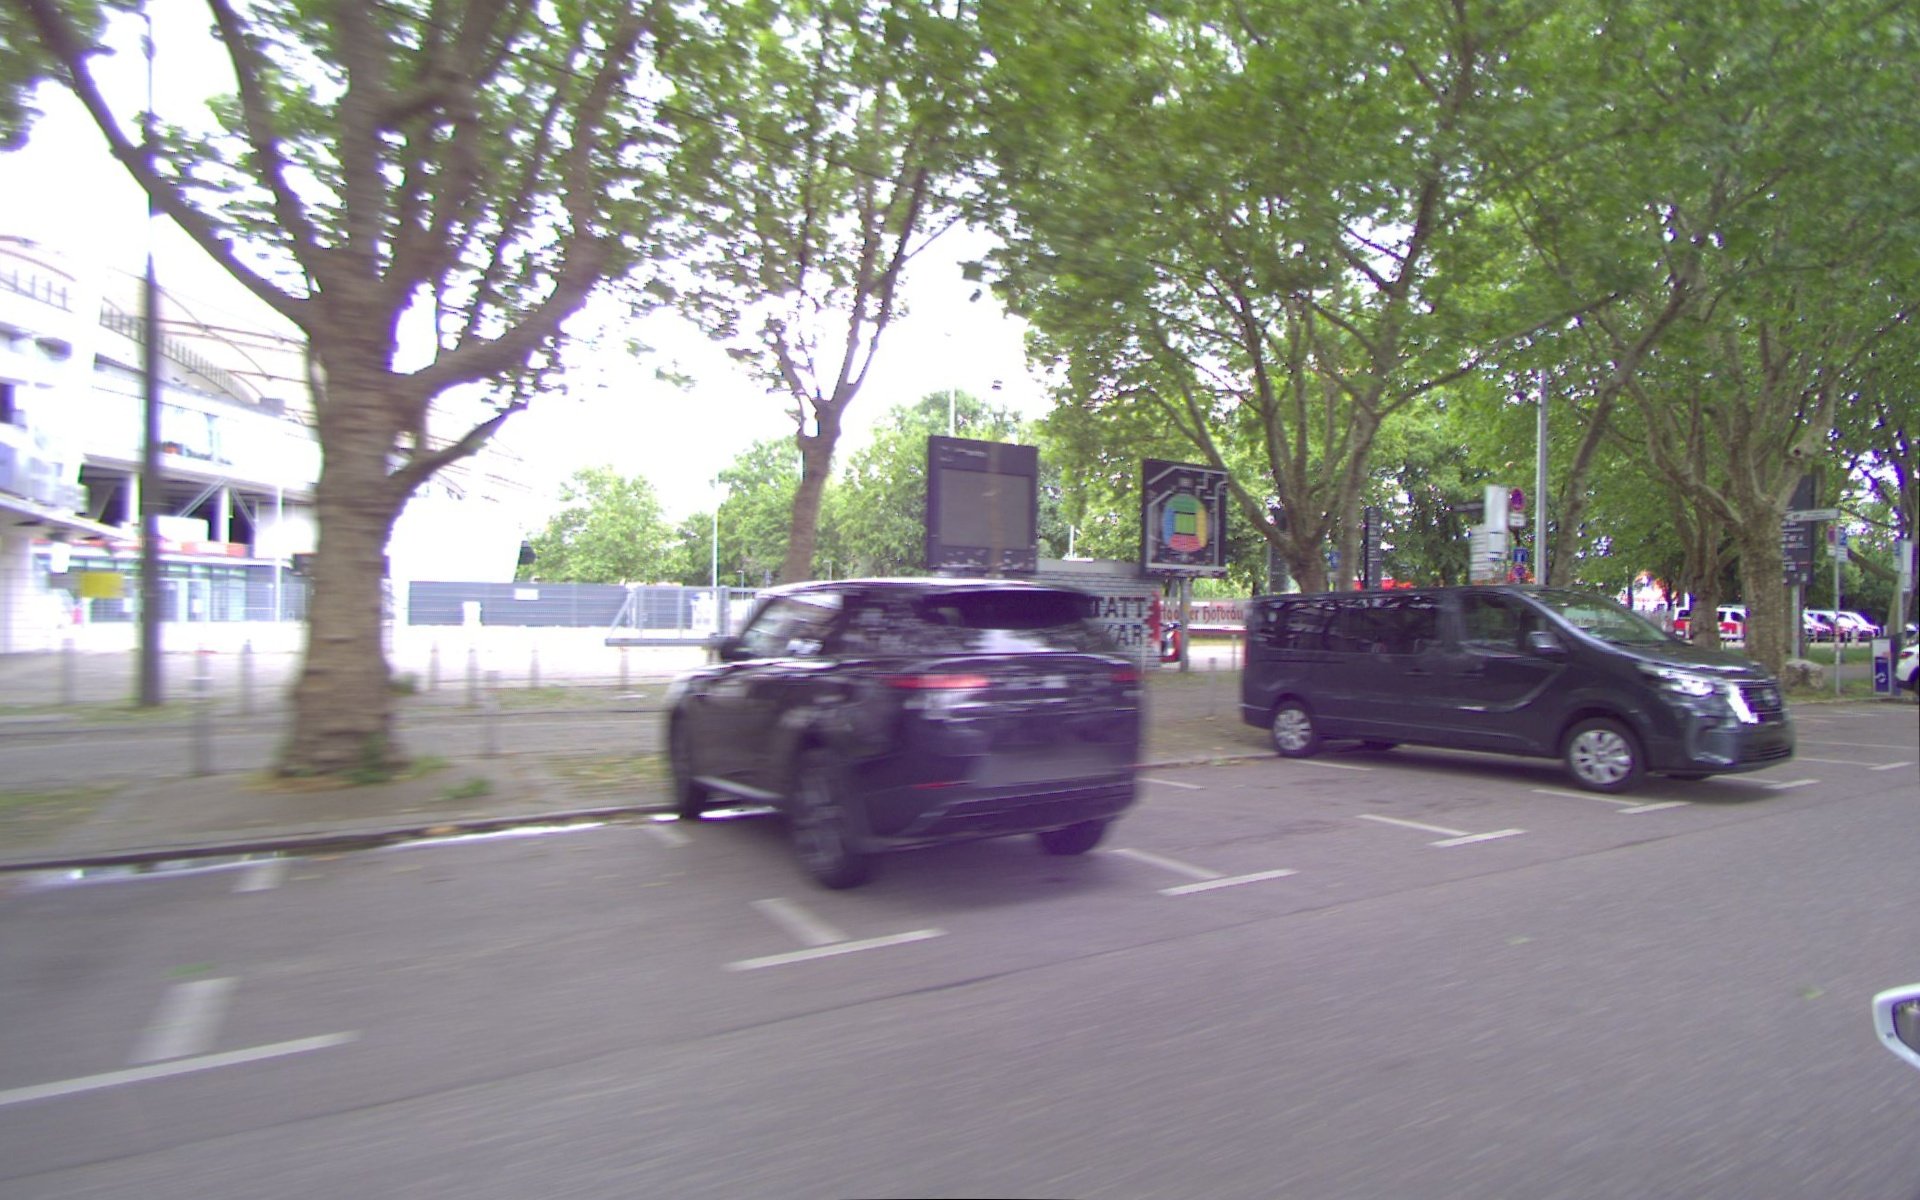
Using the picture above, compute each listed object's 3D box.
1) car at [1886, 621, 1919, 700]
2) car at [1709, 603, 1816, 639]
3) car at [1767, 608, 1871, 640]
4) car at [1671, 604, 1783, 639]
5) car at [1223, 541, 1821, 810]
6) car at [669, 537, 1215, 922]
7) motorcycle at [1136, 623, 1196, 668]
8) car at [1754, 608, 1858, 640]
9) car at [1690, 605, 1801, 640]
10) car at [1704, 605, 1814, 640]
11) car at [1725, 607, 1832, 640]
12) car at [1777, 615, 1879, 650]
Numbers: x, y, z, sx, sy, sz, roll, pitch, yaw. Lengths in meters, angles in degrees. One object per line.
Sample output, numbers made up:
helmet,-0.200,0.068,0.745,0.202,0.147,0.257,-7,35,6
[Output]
car,21.462,1.202,19.777,1.978,1.618,4.357,1,-3,-31
car,60.149,1.532,75.451,1.976,2.560,5.973,1,0,-30
car,68.382,1.890,80.100,1.976,2.336,5.973,1,0,-30
car,53.919,1.470,70.773,1.976,2.282,5.973,1,0,-30
car,5.544,0.712,10.894,1.918,2.156,5.409,0,-2,-31
car,-0.534,0.730,7.274,1.786,1.844,4.628,0,-3,-33
motorcycle,5.524,1.213,26.988,0.730,1.157,1.650,1,-2,-26
car,66.323,1.843,78.877,1.976,2.361,5.973,1,0,-30
car,56.178,1.553,71.973,1.976,2.282,5.973,1,0,-30
car,58.310,1.600,73.440,1.976,2.349,5.973,1,0,-30
car,62.129,1.739,76.369,1.976,2.270,5.973,1,0,-30
car,70.469,2.602,81.679,1.976,2.560,5.973,1,0,-30
